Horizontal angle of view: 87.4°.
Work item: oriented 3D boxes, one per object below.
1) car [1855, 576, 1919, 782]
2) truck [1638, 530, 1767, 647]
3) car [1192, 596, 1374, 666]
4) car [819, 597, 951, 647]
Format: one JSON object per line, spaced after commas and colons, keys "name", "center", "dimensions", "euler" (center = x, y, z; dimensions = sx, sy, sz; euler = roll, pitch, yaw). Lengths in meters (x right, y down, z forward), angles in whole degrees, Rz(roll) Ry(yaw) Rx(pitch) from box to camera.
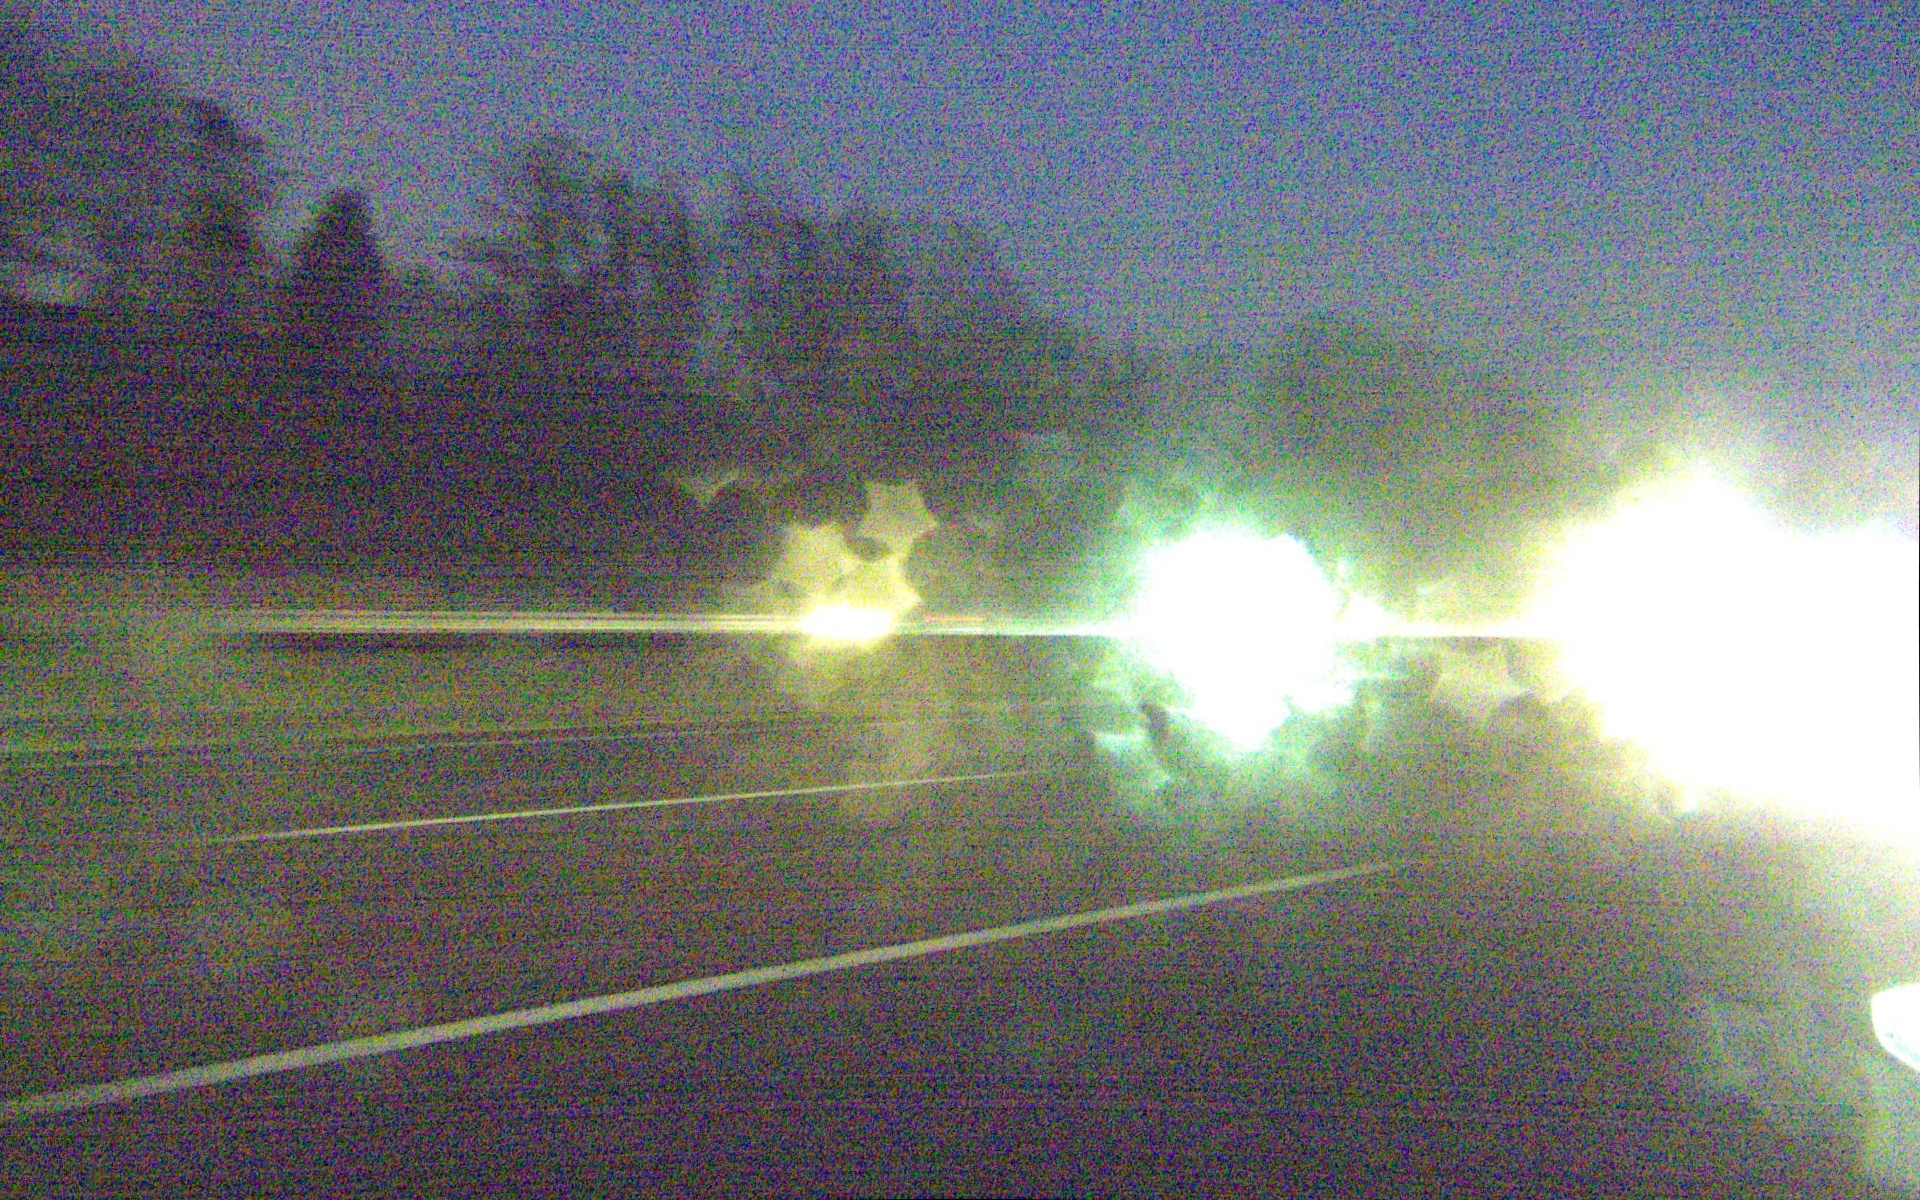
{"name": "car", "center": [10.959, 0.769, 9.600], "dimensions": [5.060, 1.816, 1.945], "euler": [2, 0, -28]}
{"name": "truck", "center": [42.170, -0.652, 57.045], "dimensions": [6.103, 6.211, 3.443], "euler": [1, 4, -32]}
{"name": "car", "center": [8.524, 0.797, 26.419], "dimensions": [4.621, 1.617, 1.983], "euler": [1, 2, -32]}
{"name": "car", "center": [-2.446, 0.716, 33.111], "dimensions": [3.940, 1.491, 1.766], "euler": [1, 2, -32]}
